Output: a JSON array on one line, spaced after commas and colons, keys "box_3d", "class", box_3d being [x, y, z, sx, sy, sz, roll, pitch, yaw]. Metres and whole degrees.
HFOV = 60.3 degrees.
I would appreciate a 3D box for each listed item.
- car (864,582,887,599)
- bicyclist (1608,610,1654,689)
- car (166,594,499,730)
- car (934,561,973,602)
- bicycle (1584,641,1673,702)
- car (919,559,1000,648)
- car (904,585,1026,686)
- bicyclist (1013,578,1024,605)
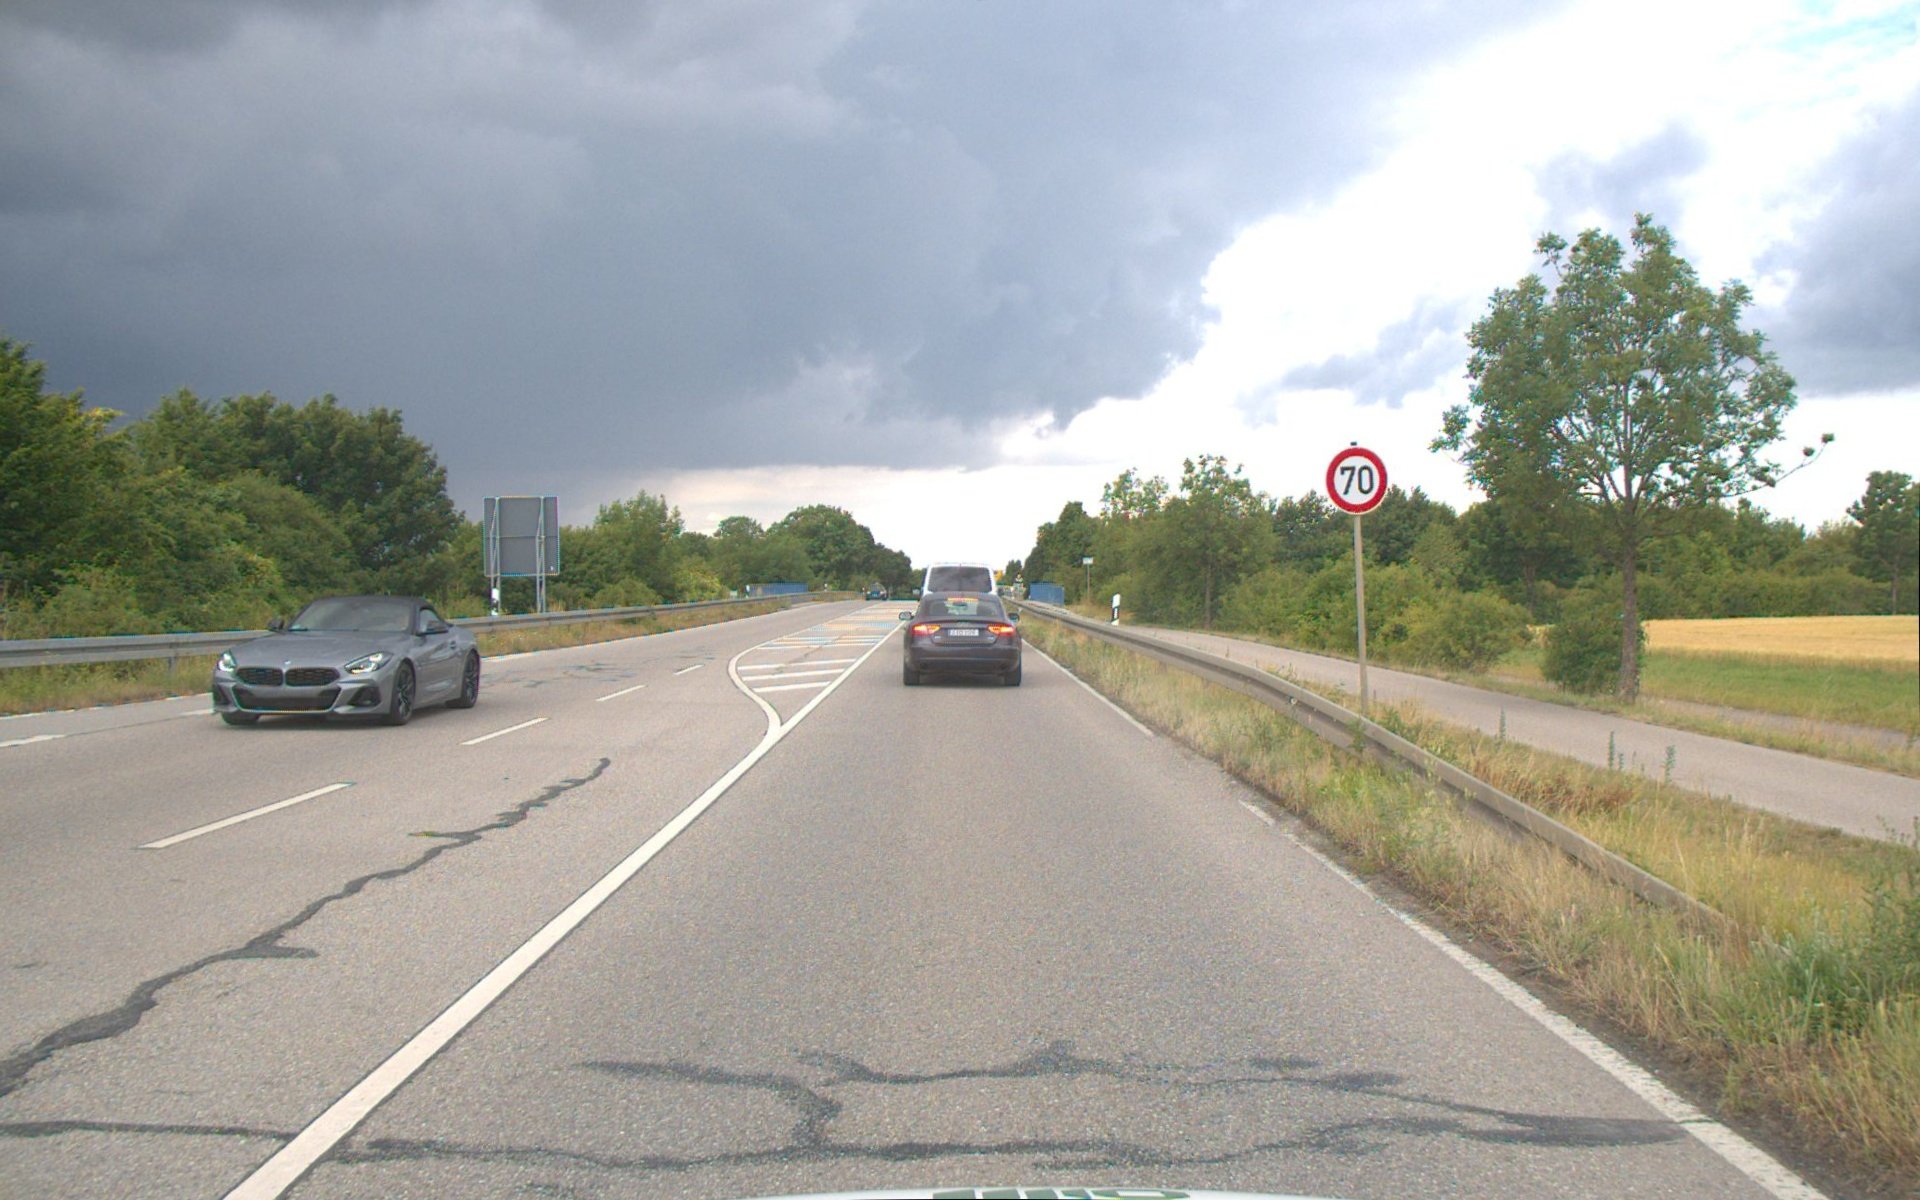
[{"box_3d": [-7.439, -0.831, 146.015, 1.824, 1.400, 3.999, 0, 1, -1], "class": "car"}, {"box_3d": [13.847, 1.016, 34.141, 0.642, 1.608, 0.744, 1, -1, -1], "class": "bicyclist"}, {"box_3d": [-6.701, 0.597, 18.230, 2.120, 1.307, 4.236, 0, 0, -1], "class": "car"}, {"box_3d": [-0.396, -1.193, 106.301, 2.397, 2.548, 5.041, 1, 1, 0], "class": "car"}, {"box_3d": [13.833, 1.453, 34.315, 0.642, 1.158, 2.830, 1, -1, -1], "class": "bicycle"}, {"box_3d": [-0.035, 0.078, 38.276, 1.749, 1.923, 3.999, 1, 0, -1], "class": "car"}, {"box_3d": [0.054, 0.519, 25.999, 1.749, 1.448, 3.999, 1, 0, -1], "class": "car"}, {"box_3d": [3.690, -0.550, 104.225, 0.634, 1.674, 0.866, -1, 0, -1], "class": "bicyclist"}]
